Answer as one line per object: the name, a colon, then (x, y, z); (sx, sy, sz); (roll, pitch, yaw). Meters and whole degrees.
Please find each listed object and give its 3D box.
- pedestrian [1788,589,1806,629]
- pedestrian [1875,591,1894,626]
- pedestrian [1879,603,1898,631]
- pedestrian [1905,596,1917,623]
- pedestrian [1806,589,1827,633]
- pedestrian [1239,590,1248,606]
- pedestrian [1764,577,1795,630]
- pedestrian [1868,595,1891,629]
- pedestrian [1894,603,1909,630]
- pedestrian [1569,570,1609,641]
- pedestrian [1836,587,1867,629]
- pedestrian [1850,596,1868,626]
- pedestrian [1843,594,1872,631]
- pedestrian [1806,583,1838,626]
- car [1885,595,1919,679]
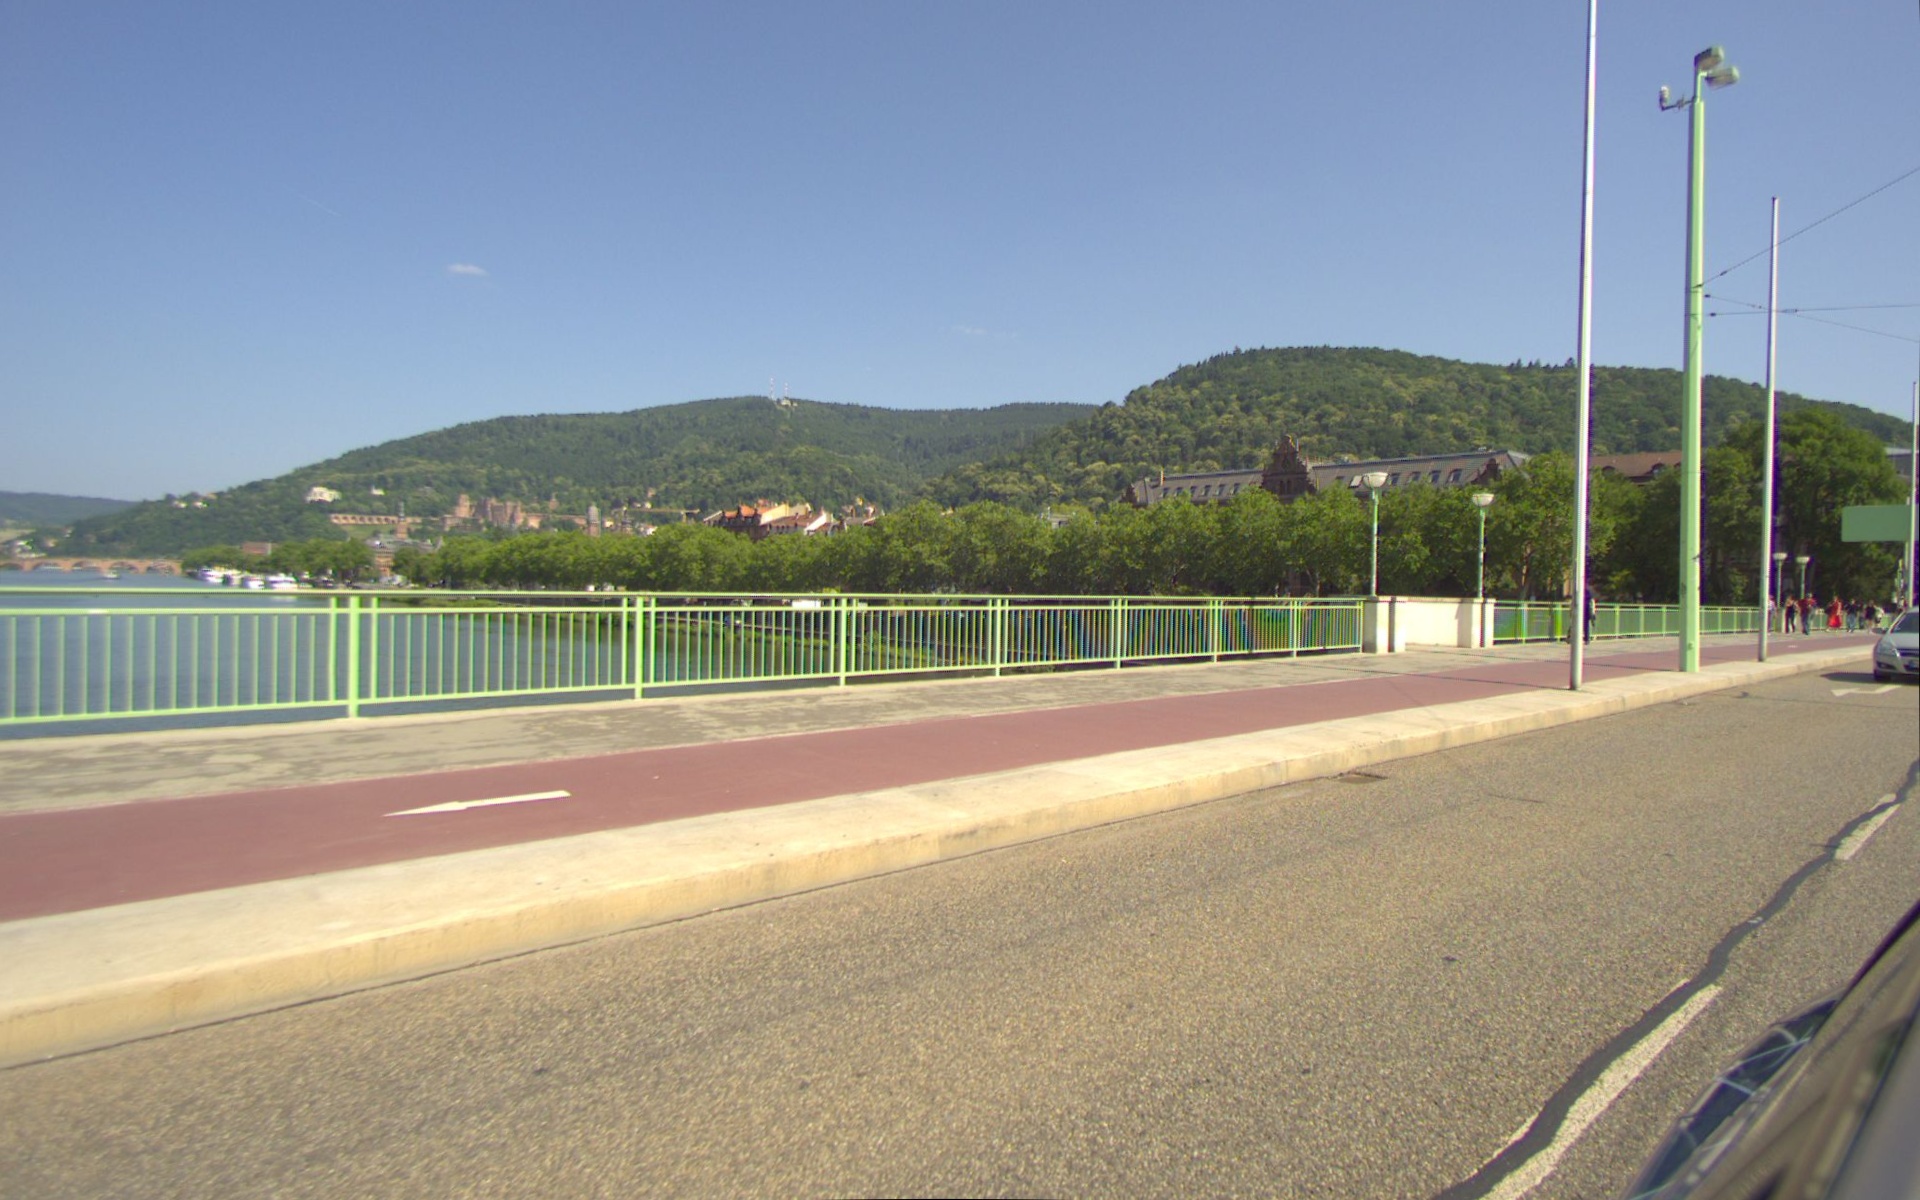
pedestrian: (35.780, 0.378, 43.257); (0.523, 1.670, 0.688); (1, 1, 43)
pedestrian: (45.571, 0.403, 49.878); (0.654, 1.670, 0.854); (1, 1, 43)
pedestrian: (53.047, 0.958, 57.813); (0.679, 1.582, 0.651); (2, 0, -40)
pedestrian: (64.629, 0.623, 68.794); (0.549, 1.821, 0.636); (1, 1, 43)
pedestrian: (36.166, 0.471, 42.730); (0.585, 1.816, 0.622); (1, 1, 44)
pedestrian: (32.099, -0.272, 114.752); (0.740, 1.798, 0.666); (0, -1, 44)
pedestrian: (32.307, 0.135, 39.895); (0.874, 2.039, 1.042); (1, 1, 43)
pedestrian: (47.218, 0.609, 51.951); (0.834, 1.698, 0.872); (2, 1, 43)
pedestrian: (63.426, 1.098, 68.202); (0.695, 1.738, 0.720); (1, 1, 44)
pedestrian: (16.123, 0.141, 25.950); (0.654, 1.766, 0.963); (1, -1, 44)
pedestrian: (42.575, 0.370, 48.339); (0.923, 1.978, 1.016); (0, 1, -43)
pedestrian: (50.138, 0.613, 56.433); (0.679, 1.652, 0.651); (1, -1, -40)
pedestrian: (44.930, 0.599, 50.654); (0.985, 1.791, 1.234); (3, 1, 43)
pedestrian: (39.208, 0.189, 46.026); (1.234, 1.918, 0.985); (0, 1, -45)
car: (19.442, 0.714, 19.756); (4.423, 1.520, 1.799); (1, 0, -44)
